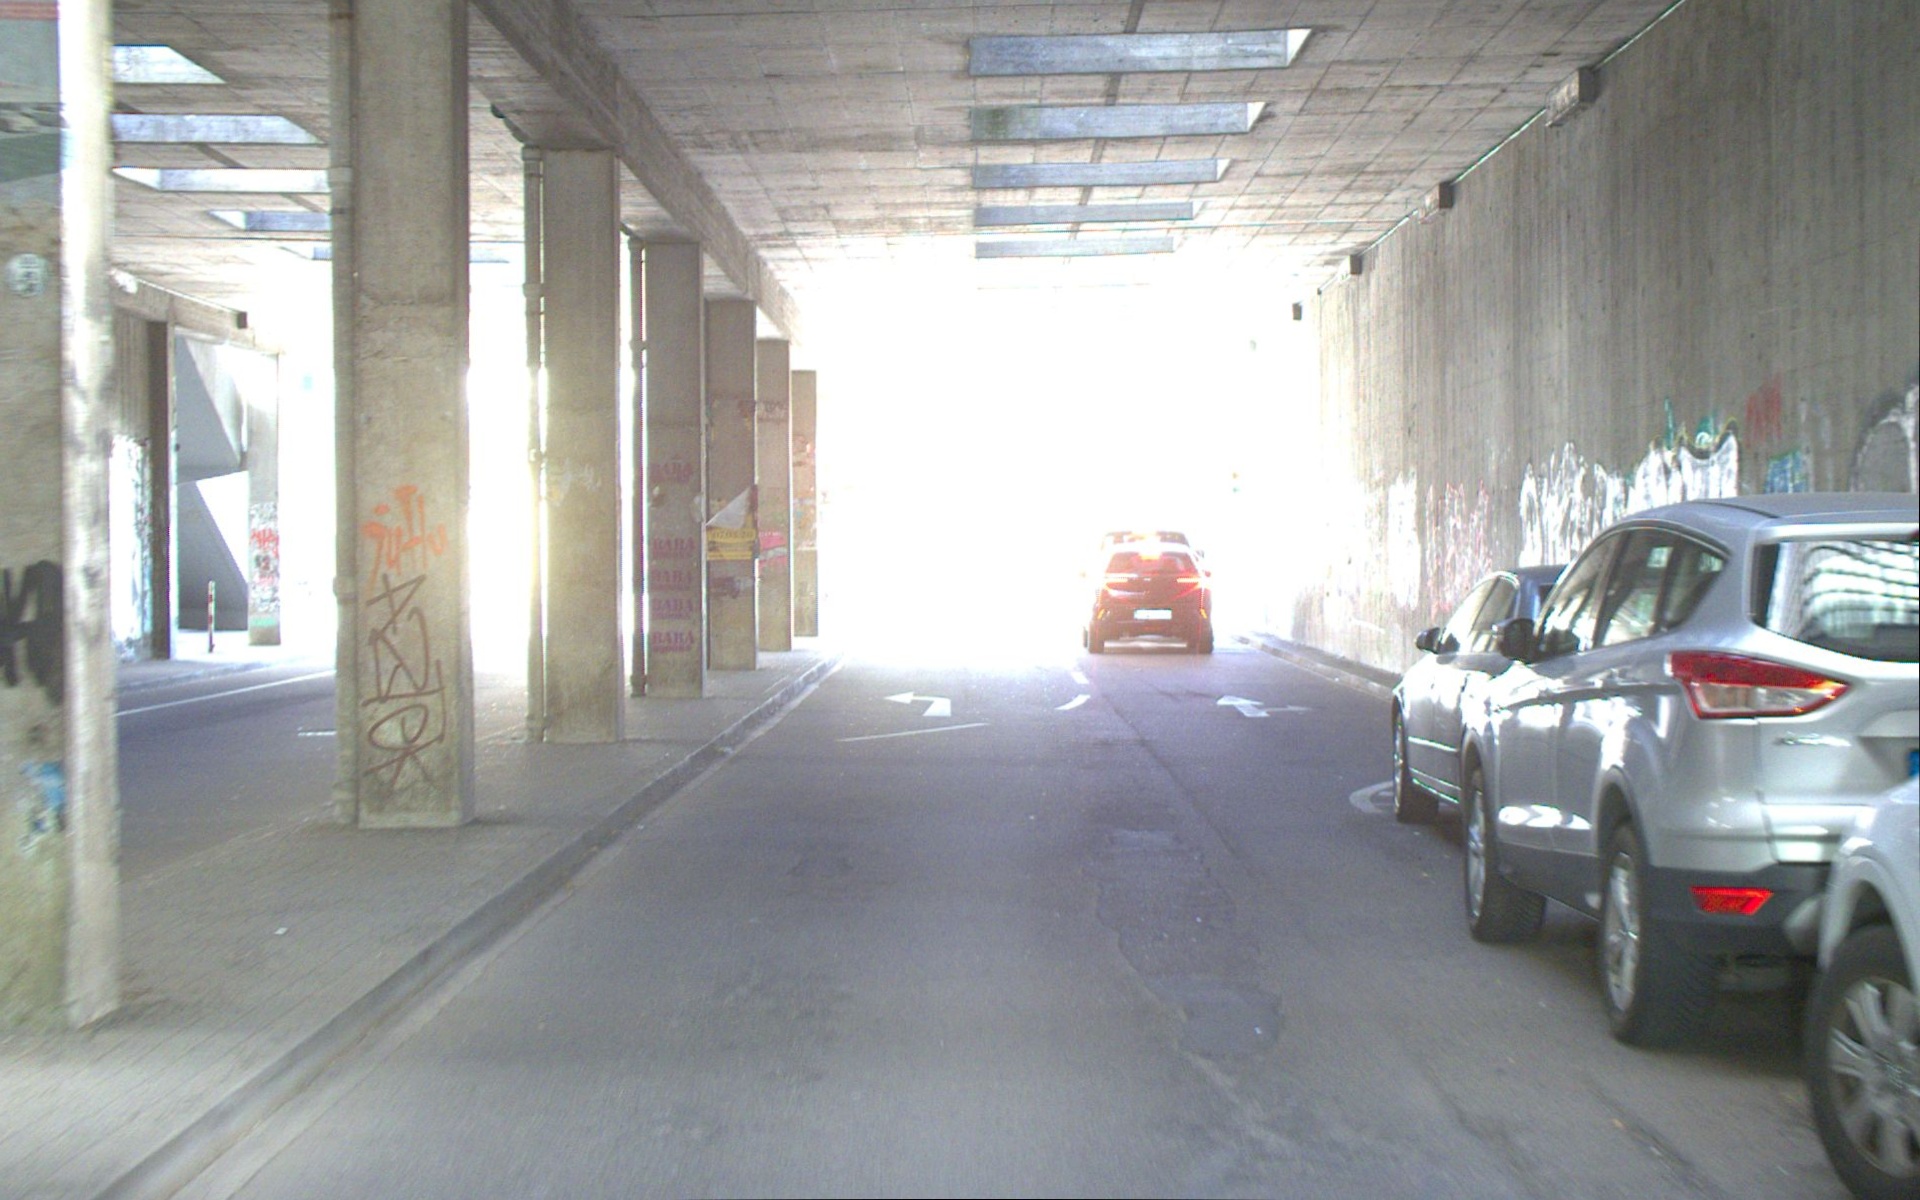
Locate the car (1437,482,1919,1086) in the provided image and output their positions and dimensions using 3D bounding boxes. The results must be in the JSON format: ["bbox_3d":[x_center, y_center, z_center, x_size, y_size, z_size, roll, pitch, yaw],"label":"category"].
[{"bbox_3d":[2.858,0.447,11.636,1.853,1.660,4.371,0,2,0],"label":"car"}]

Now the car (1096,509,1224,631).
[{"bbox_3d":[3.224,-0.510,56.248,1.815,1.876,4.586,-1,1,0],"label":"car"}]

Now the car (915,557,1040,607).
[{"bbox_3d":[0.579,-0.592,112.762,3.987,1.568,1.639,-1,1,5],"label":"car"}]

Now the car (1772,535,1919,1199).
[{"bbox_3d":[2.954,0.629,6.319,1.729,1.541,4.156,-1,1,-3],"label":"car"}]

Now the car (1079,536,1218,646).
[{"bbox_3d":[2.679,-0.165,49.677,1.826,1.496,4.211,-1,1,1],"label":"car"}]

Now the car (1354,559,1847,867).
[{"bbox_3d":[3.152,0.485,17.762,1.701,1.369,4.374,0,1,0],"label":"car"}]
